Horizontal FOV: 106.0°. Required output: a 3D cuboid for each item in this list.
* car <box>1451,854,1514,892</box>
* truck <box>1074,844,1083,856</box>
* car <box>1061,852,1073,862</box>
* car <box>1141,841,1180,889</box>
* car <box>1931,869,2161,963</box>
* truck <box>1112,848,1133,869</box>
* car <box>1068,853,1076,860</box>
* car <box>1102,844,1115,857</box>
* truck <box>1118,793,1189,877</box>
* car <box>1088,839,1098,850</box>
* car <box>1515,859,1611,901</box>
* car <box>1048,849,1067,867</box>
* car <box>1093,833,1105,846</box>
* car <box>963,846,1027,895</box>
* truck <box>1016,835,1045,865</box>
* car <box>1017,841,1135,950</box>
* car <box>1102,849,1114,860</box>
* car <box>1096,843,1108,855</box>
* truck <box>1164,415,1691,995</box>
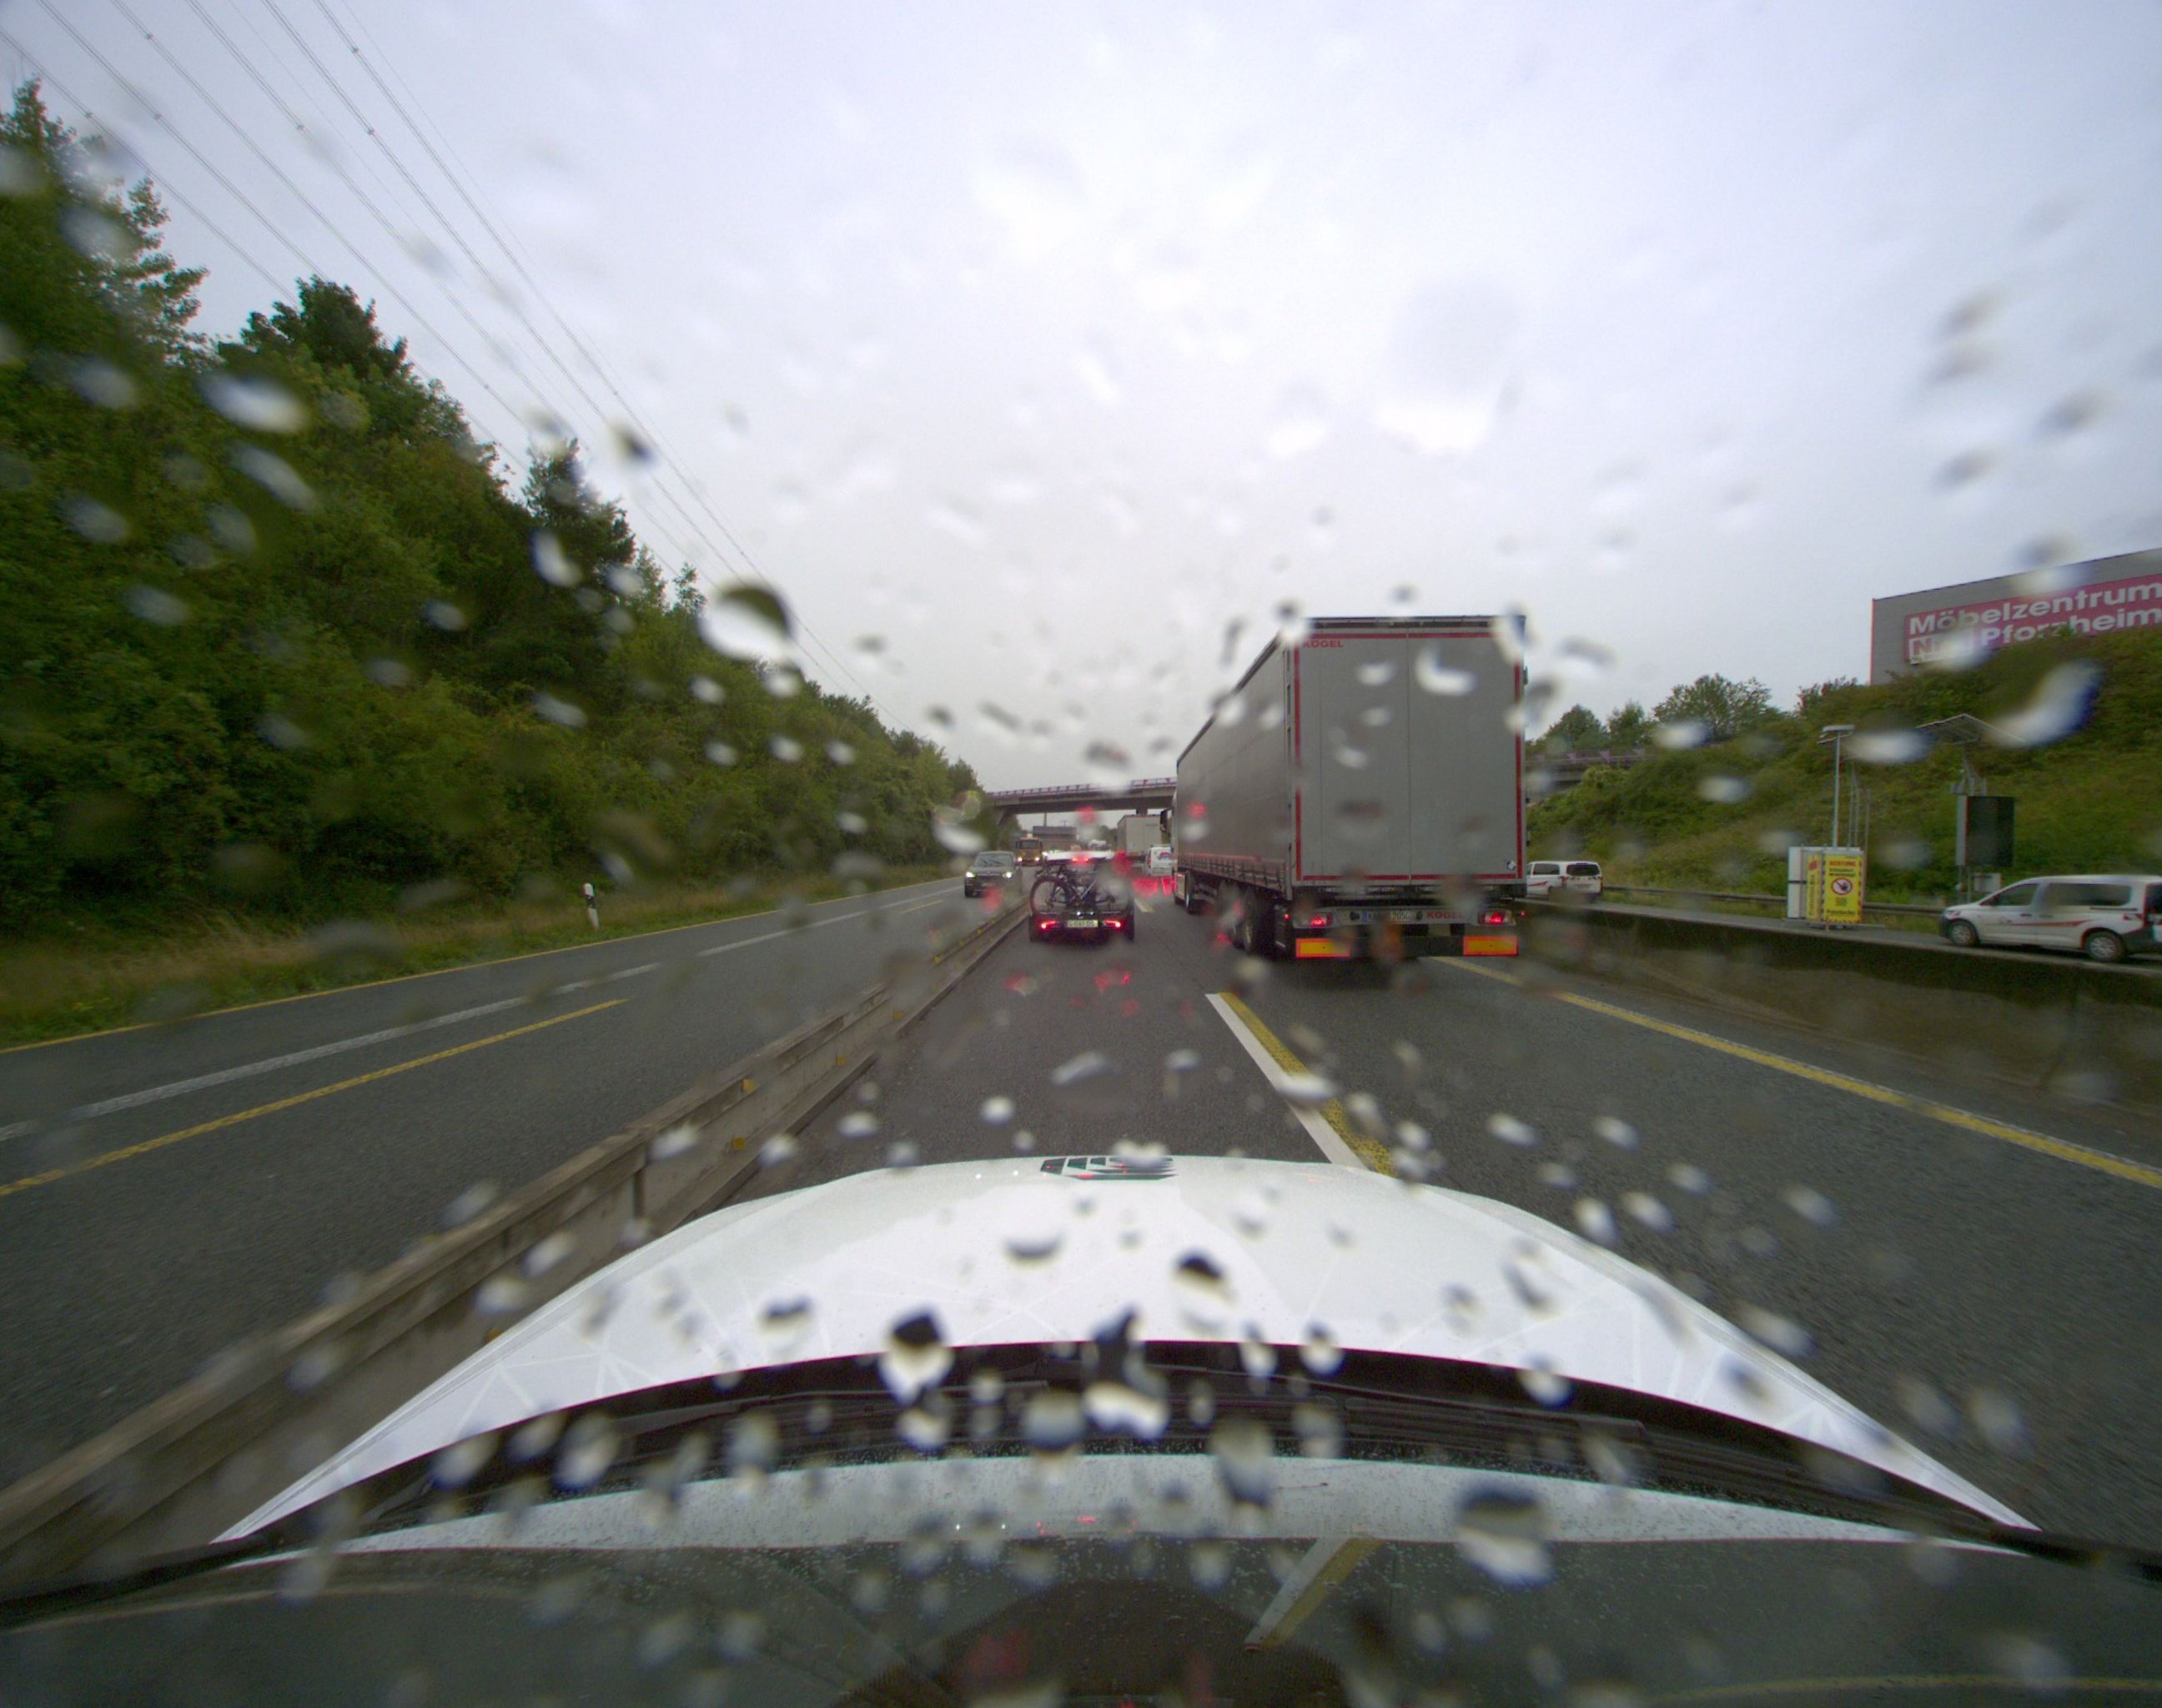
[{"bbox_3d":[22.827,1.059,46.460,1.721,2.058,4.128,-1,0,4],"label":"car"},{"bbox_3d":[-0.831,-1.098,243.916,2.526,3.352,12.050,-1,0,1],"label":"truck"},{"bbox_3d":[-2.043,0.399,119.903,1.681,1.409,3.929,-1,0,0],"label":"car"},{"bbox_3d":[3.841,0.526,40.005,1.663,2.180,4.537,-1,0,3],"label":"car"},{"bbox_3d":[22.078,1.265,18.198,1.723,1.757,4.268,-1,0,0],"label":"car"},{"bbox_3d":[4.199,0.441,82.401,1.986,2.014,4.001,-1,0,1],"label":"truck"},{"bbox_3d":[-1.788,0.497,163.263,1.681,1.409,3.929,-1,0,0],"label":"car"},{"bbox_3d":[4.217,-0.478,127.192,1.986,2.014,4.001,-1,0,1],"label":"car"},{"bbox_3d":[5.407,-1.234,65.269,4.724,5.673,20.389,-1,0,3],"label":"truck"},{"bbox_3d":[2.397,-1.952,165.781,1.986,2.126,4.528,-1,0,2],"label":"car"},{"bbox_3d":[22.614,1.153,38.441,1.934,1.829,4.731,-1,0,4],"label":"car"},{"bbox_3d":[-2.345,0.422,83.719,1.804,1.824,4.634,-1,0,0],"label":"car"},{"bbox_3d":[3.341,-2.764,152.263,2.231,2.307,4.573,-1,0,2],"label":"car"},{"bbox_3d":[-3.091,0.572,29.960,1.804,1.633,4.118,-1,0,1],"label":"car"},{"bbox_3d":[-5.983,-0.387,98.247,2.526,3.352,12.050,-1,0,1],"label":"truck"},{"bbox_3d":[0.029,0.646,14.775,1.803,1.637,4.638,-1,0,3],"label":"car"},{"bbox_3d":[3.741,0.104,113.377,1.632,1.497,3.667,-1,0,2],"label":"car"},{"bbox_3d":[3.603,-0.899,139.620,1.986,2.014,4.001,-1,0,1],"label":"car"},{"bbox_3d":[4.426,-1.419,18.217,3.963,5.673,20.389,-1,0,3],"label":"truck"}]
